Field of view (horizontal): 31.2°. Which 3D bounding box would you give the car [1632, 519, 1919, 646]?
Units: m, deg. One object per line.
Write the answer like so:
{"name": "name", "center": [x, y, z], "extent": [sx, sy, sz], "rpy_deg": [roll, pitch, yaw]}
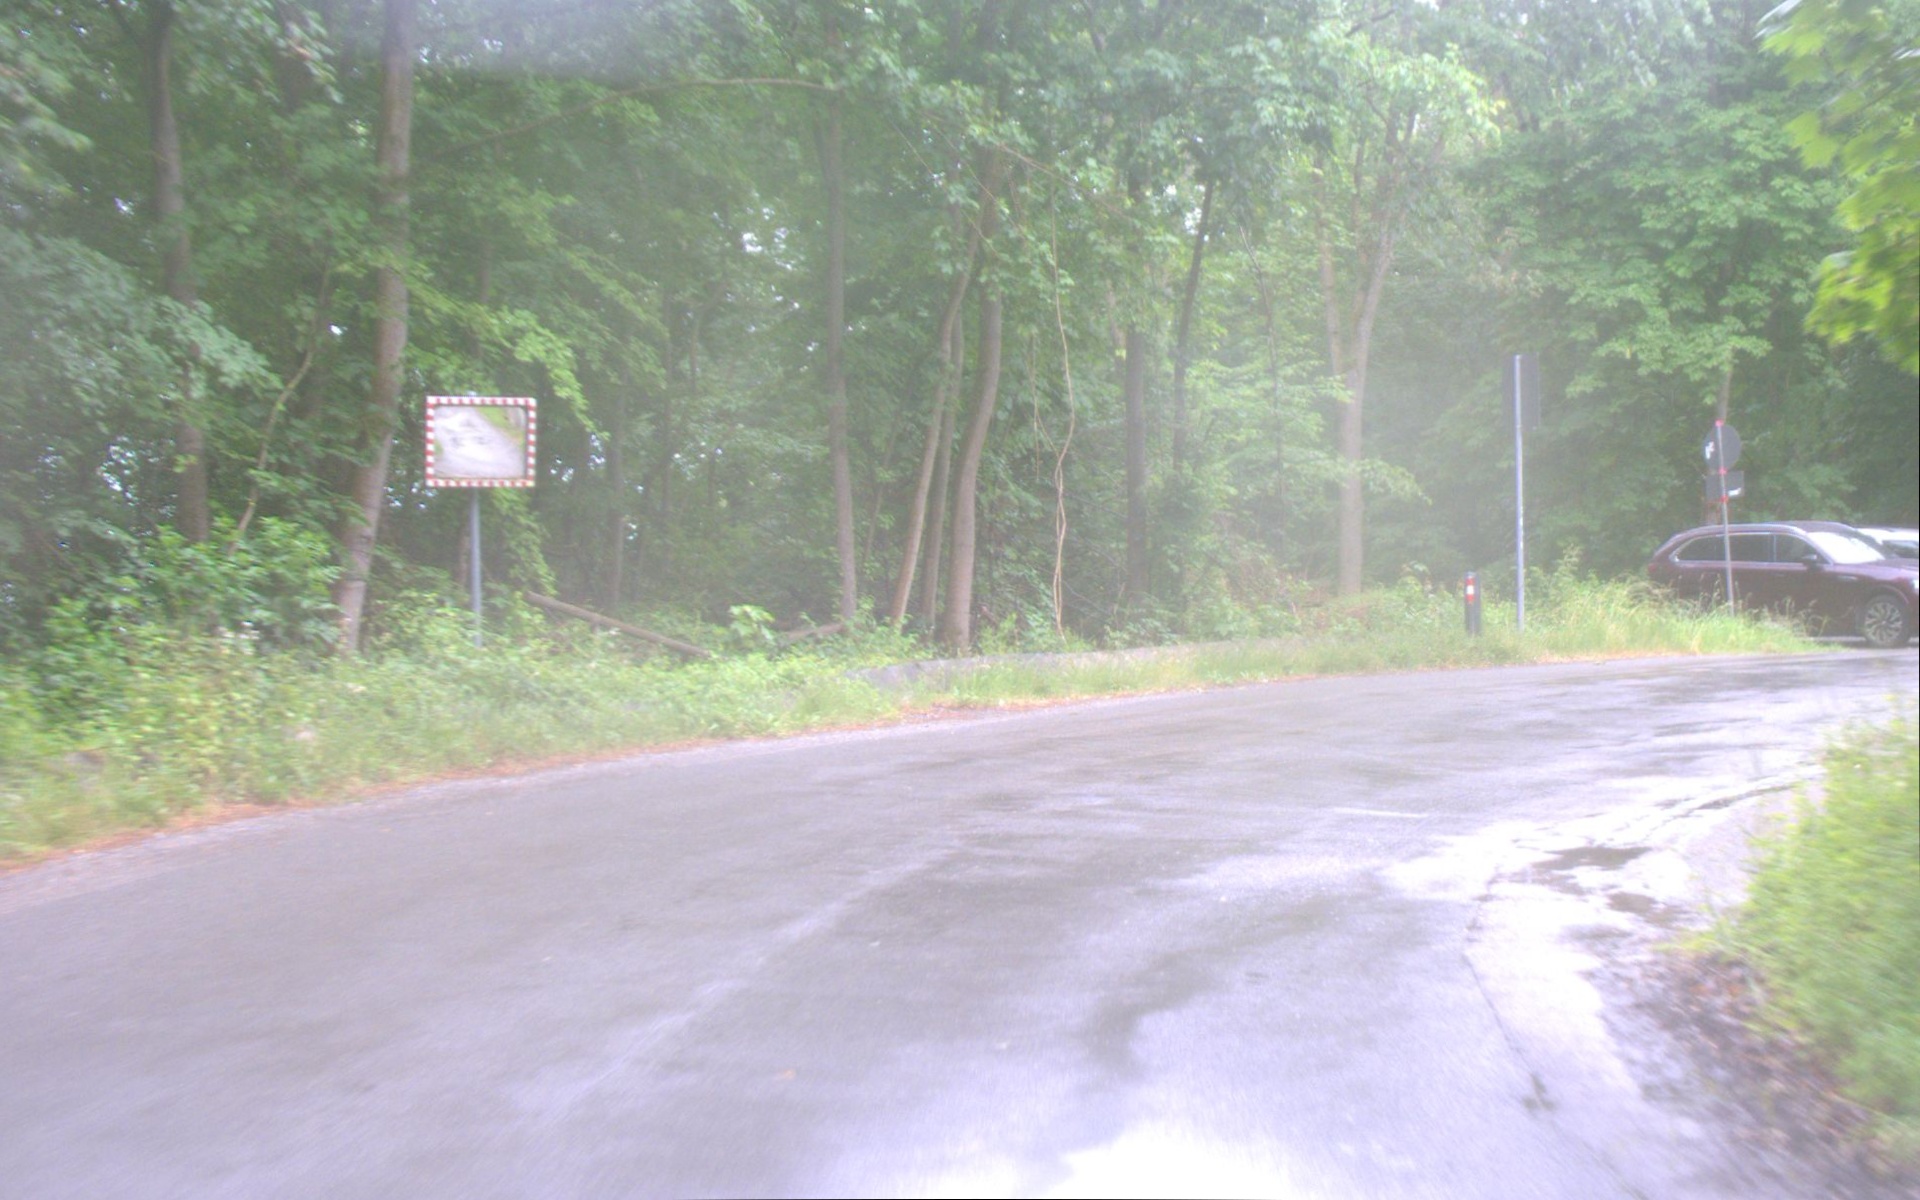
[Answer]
{"name": "car", "center": [11.996, -0.253, 48.195], "extent": [1.871, 1.671, 4.838], "rpy_deg": [-3, 2, -42]}

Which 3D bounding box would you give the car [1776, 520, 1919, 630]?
{"name": "car", "center": [14.222, -0.384, 50.331], "extent": [1.769, 1.549, 4.148], "rpy_deg": [-3, 2, -41]}
